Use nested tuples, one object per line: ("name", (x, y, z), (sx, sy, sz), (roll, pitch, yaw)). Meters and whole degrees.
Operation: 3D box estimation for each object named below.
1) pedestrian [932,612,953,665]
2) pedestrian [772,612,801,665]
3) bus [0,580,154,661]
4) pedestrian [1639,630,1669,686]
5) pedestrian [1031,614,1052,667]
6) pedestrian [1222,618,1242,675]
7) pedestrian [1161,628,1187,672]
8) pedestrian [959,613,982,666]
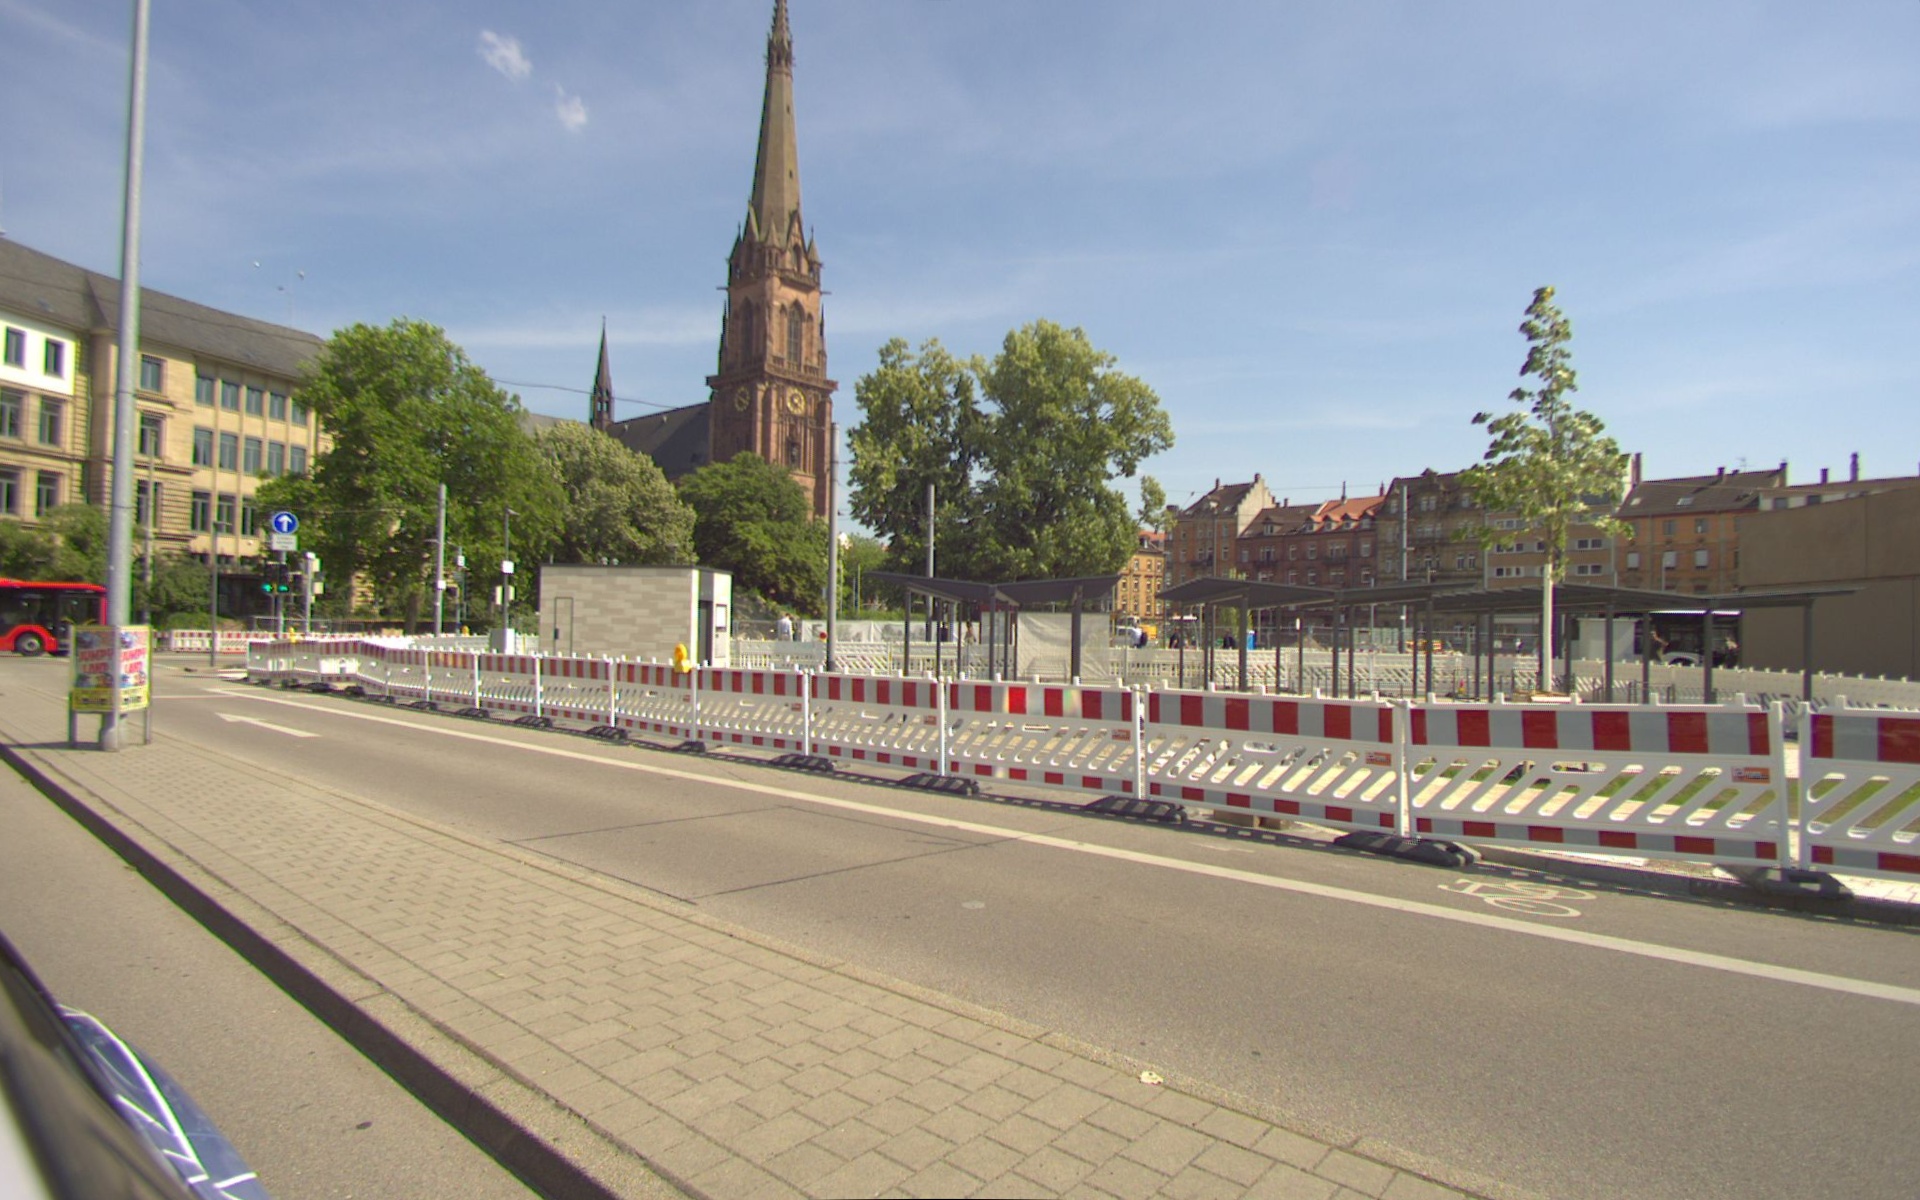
("pedestrian", (-0.682, 1.518, 39.984), (0.678, 2.029, 0.819), (1, -2, 7))
("pedestrian", (-6.668, 1.479, 38.827), (0.686, 2.029, 0.809), (-1, -3, 43))
("bus", (-39.700, 0.812, 39.803), (12.200, 3.117, 3.143), (0, 0, -17))
("pedestrian", (25.810, 2.150, 37.656), (0.722, 2.029, 0.581), (1, -2, 5))
("pedestrian", (3.152, 1.554, 39.069), (0.679, 2.029, 0.818), (1, -2, 11))
("pedestrian", (9.897, 1.696, 36.848), (0.680, 2.029, 0.816), (0, -2, 16))
("pedestrian", (8.281, 1.935, 39.099), (0.733, 1.674, 0.822), (1, -2, -7))
("pedestrian", (0.402, 1.555, 39.723), (0.810, 2.029, 0.685), (1, -2, 6))
